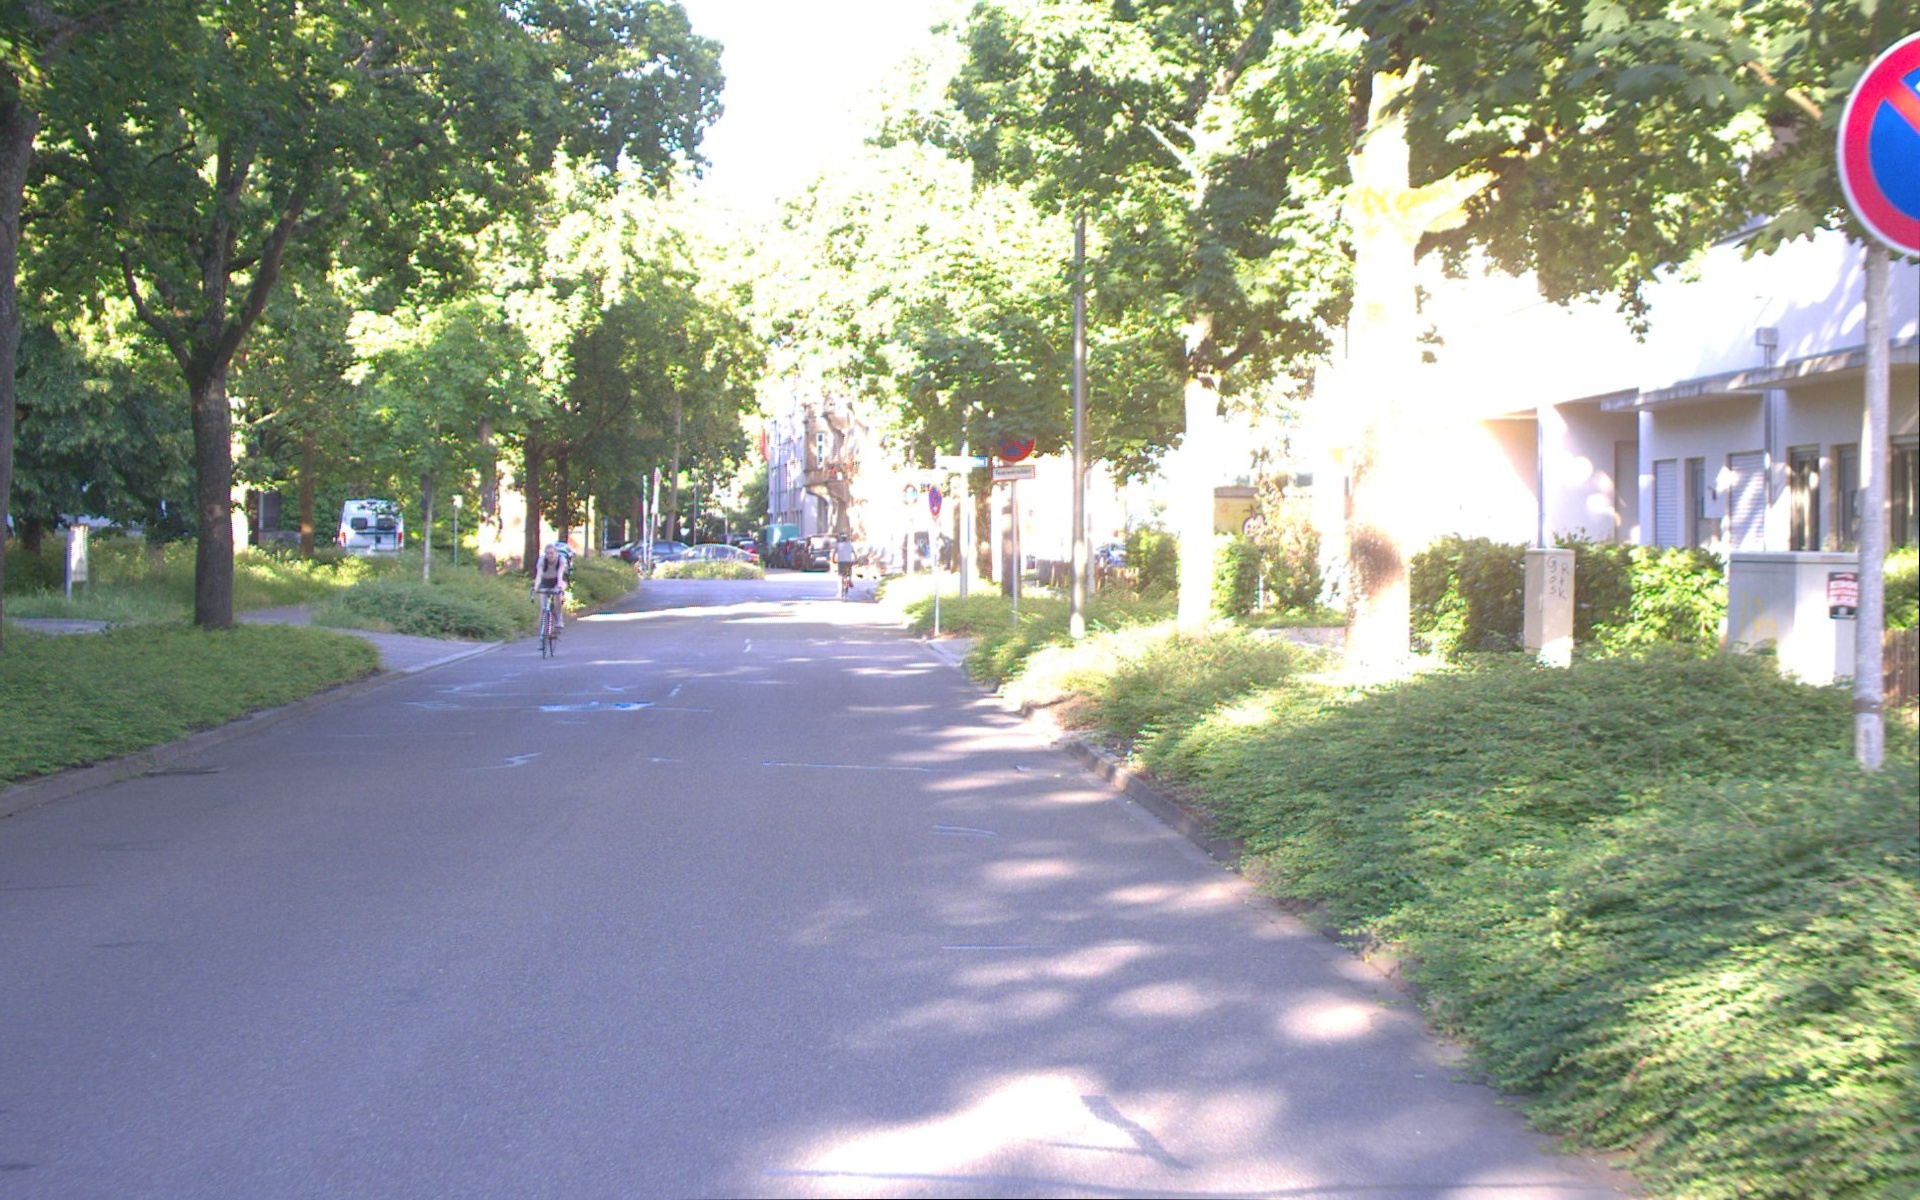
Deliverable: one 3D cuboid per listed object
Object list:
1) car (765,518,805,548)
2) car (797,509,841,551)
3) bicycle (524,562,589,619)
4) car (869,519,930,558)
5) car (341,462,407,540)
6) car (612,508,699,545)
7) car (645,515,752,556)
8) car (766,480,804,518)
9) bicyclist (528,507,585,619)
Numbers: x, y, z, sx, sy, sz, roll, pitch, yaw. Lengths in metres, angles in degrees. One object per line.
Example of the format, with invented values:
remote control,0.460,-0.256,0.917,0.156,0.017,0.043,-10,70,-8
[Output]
car,-9.186,-3.517,180.431,1.811,1.496,4.001,1,1,-6
car,-6.825,-3.386,165.711,1.811,1.919,4.001,1,1,-6
bicycle,-5.686,-0.141,48.557,0.639,0.739,2.126,-1,1,0
car,-2.433,-2.465,137.325,1.811,1.496,4.001,0,1,-10
car,-19.294,-3.249,113.176,1.993,2.499,4.001,1,1,-11
car,-13.020,-3.140,146.957,3.586,1.505,1.501,1,1,-10
car,-10.249,-2.531,134.614,3.986,1.496,1.818,1,1,-10
car,-9.717,-5.612,190.589,1.811,2.043,4.001,1,1,-6
bicyclist,-5.693,-0.530,48.522,0.633,1.549,1.002,-1,1,1
